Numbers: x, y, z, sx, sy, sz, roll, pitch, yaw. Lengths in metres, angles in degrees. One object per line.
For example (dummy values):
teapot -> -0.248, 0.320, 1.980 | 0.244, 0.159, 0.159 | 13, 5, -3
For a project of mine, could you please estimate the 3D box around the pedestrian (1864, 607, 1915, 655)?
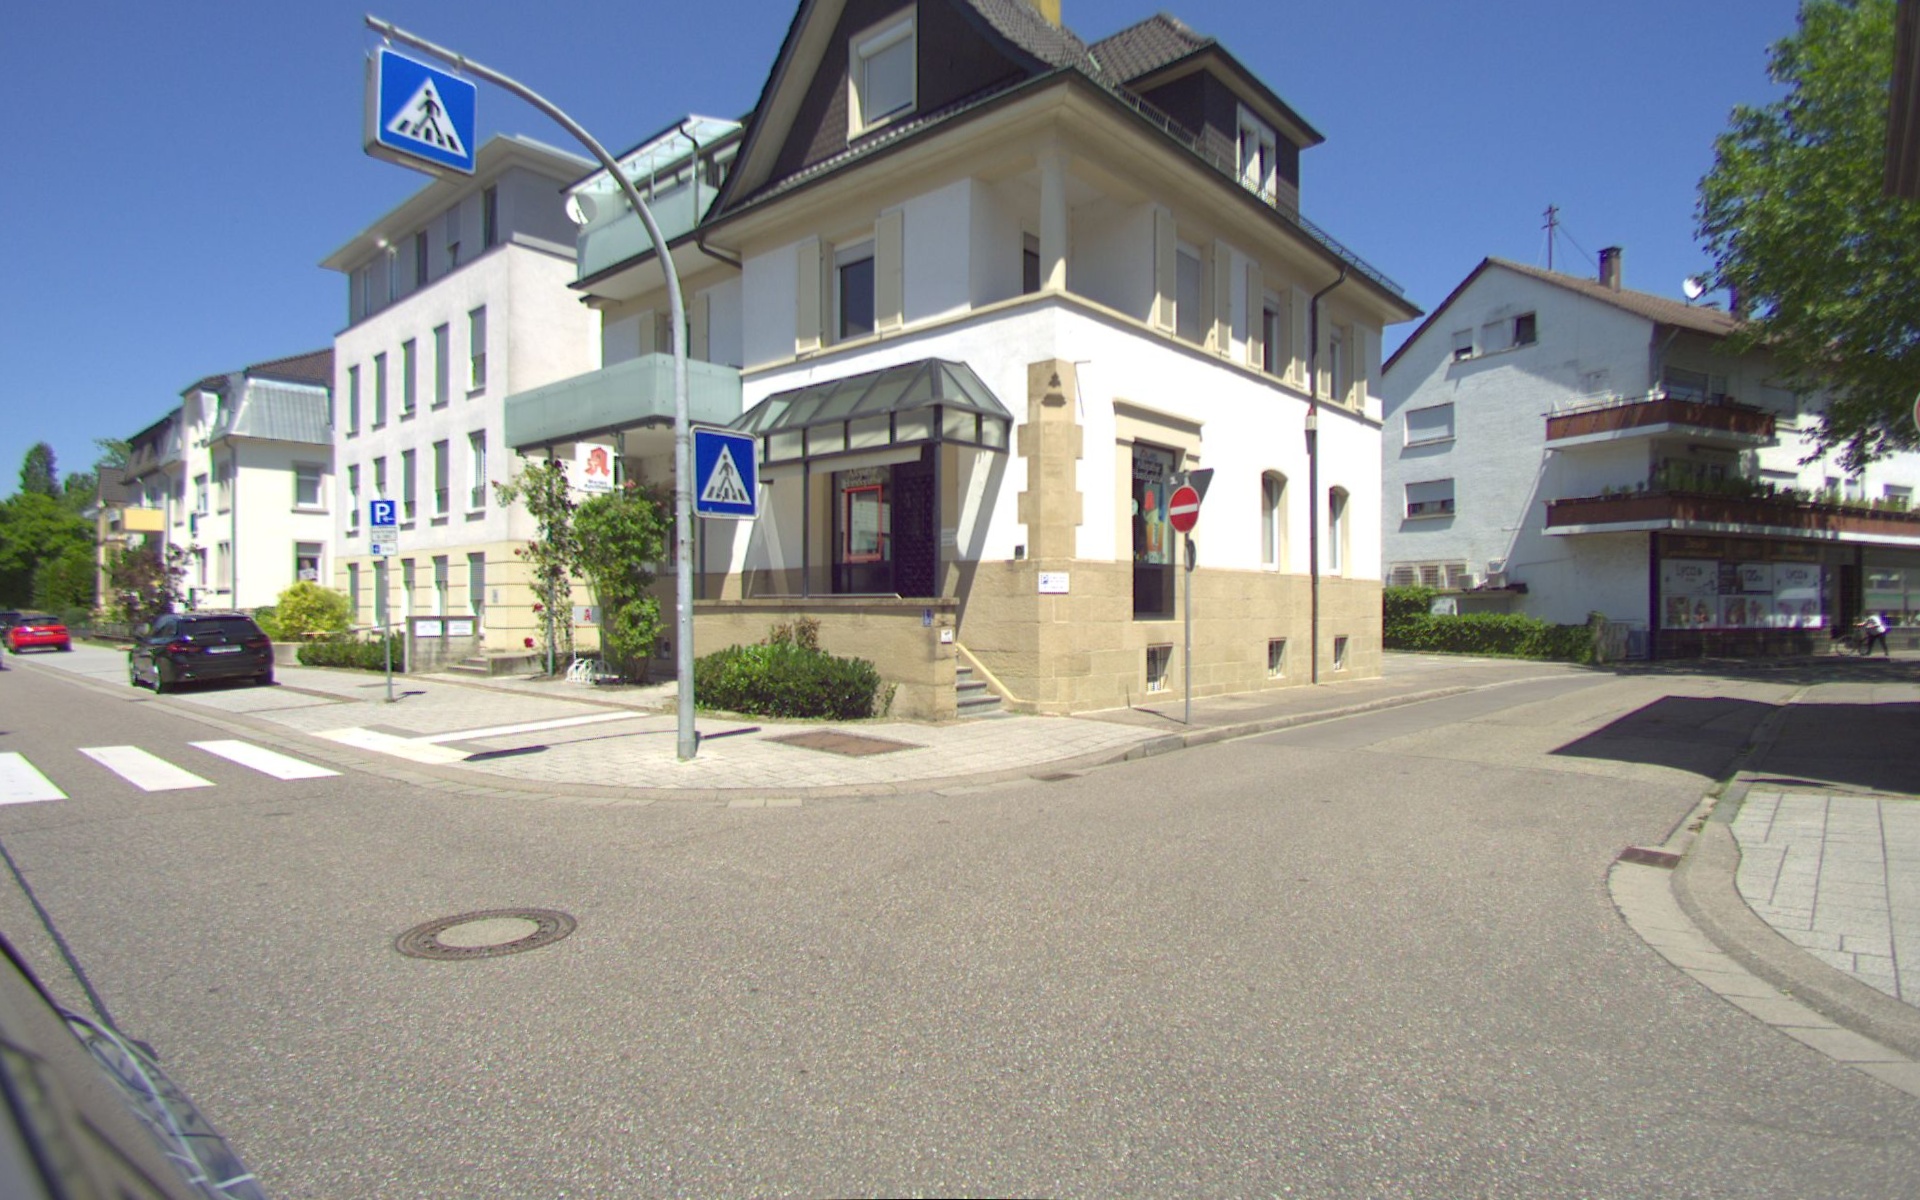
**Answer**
pedestrian -> 31.599, 1.031, 34.398 | 1.234, 1.609, 0.917 | 0, -1, -29

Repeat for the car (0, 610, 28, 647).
car -> -44.567, 1.325, 46.698 | 4.435, 1.598, 1.900 | -1, 2, 43

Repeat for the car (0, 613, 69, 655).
car -> -36.041, 1.268, 39.290 | 4.259, 1.463, 1.714 | -1, 2, 43

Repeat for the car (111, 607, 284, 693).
car -> -15.710, 0.928, 20.740 | 5.148, 1.463, 1.896 | -1, 2, 43

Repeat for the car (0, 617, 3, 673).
car -> -27.684, 1.201, 27.655 | 3.866, 1.493, 1.789 | -1, -2, 40

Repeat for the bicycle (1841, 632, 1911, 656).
bicycle -> 31.278, 1.499, 34.582 | 1.629, 0.786, 0.603 | -1, -1, 18
